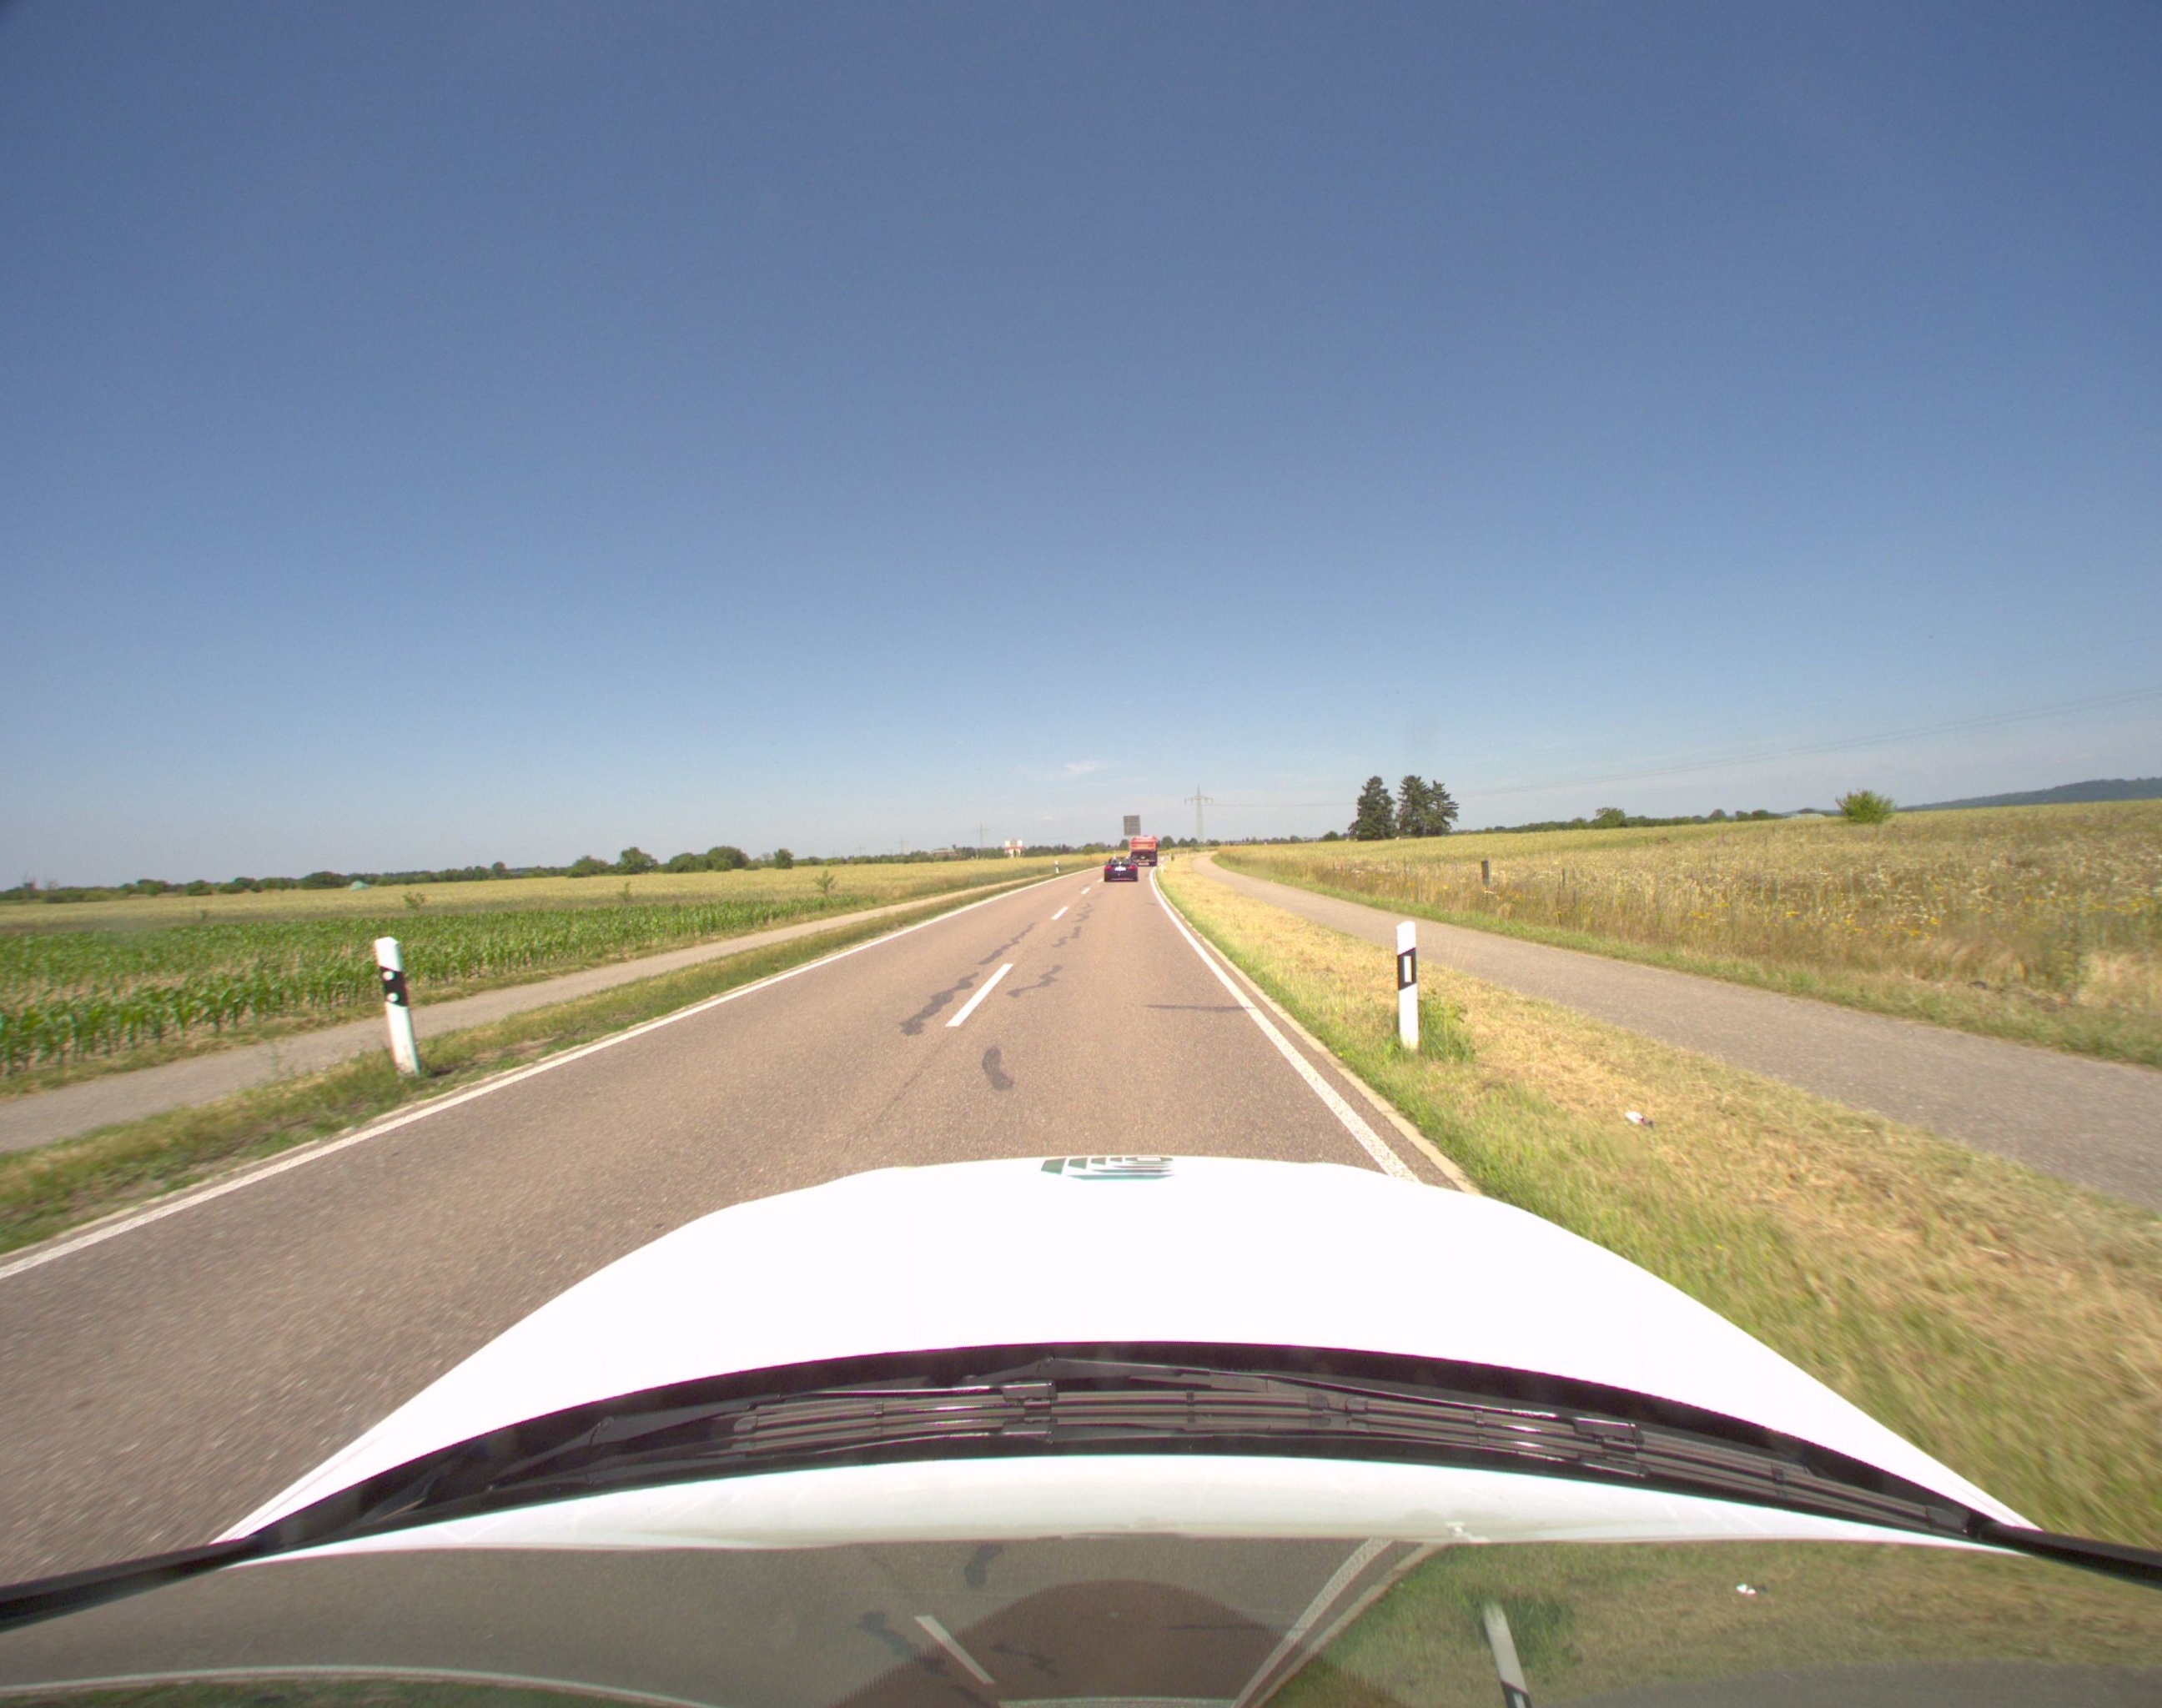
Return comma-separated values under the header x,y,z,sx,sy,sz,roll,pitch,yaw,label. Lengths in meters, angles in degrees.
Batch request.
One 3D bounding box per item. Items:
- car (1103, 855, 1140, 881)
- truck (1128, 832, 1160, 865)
x,y,z,sx,sy,sz,roll,pitch,yaw,label
2.206,0.736,43.524,1.735,1.280,4.006,-1,-1,5,car
6.450,-0.477,82.425,2.923,3.089,7.207,-1,-1,6,truck
